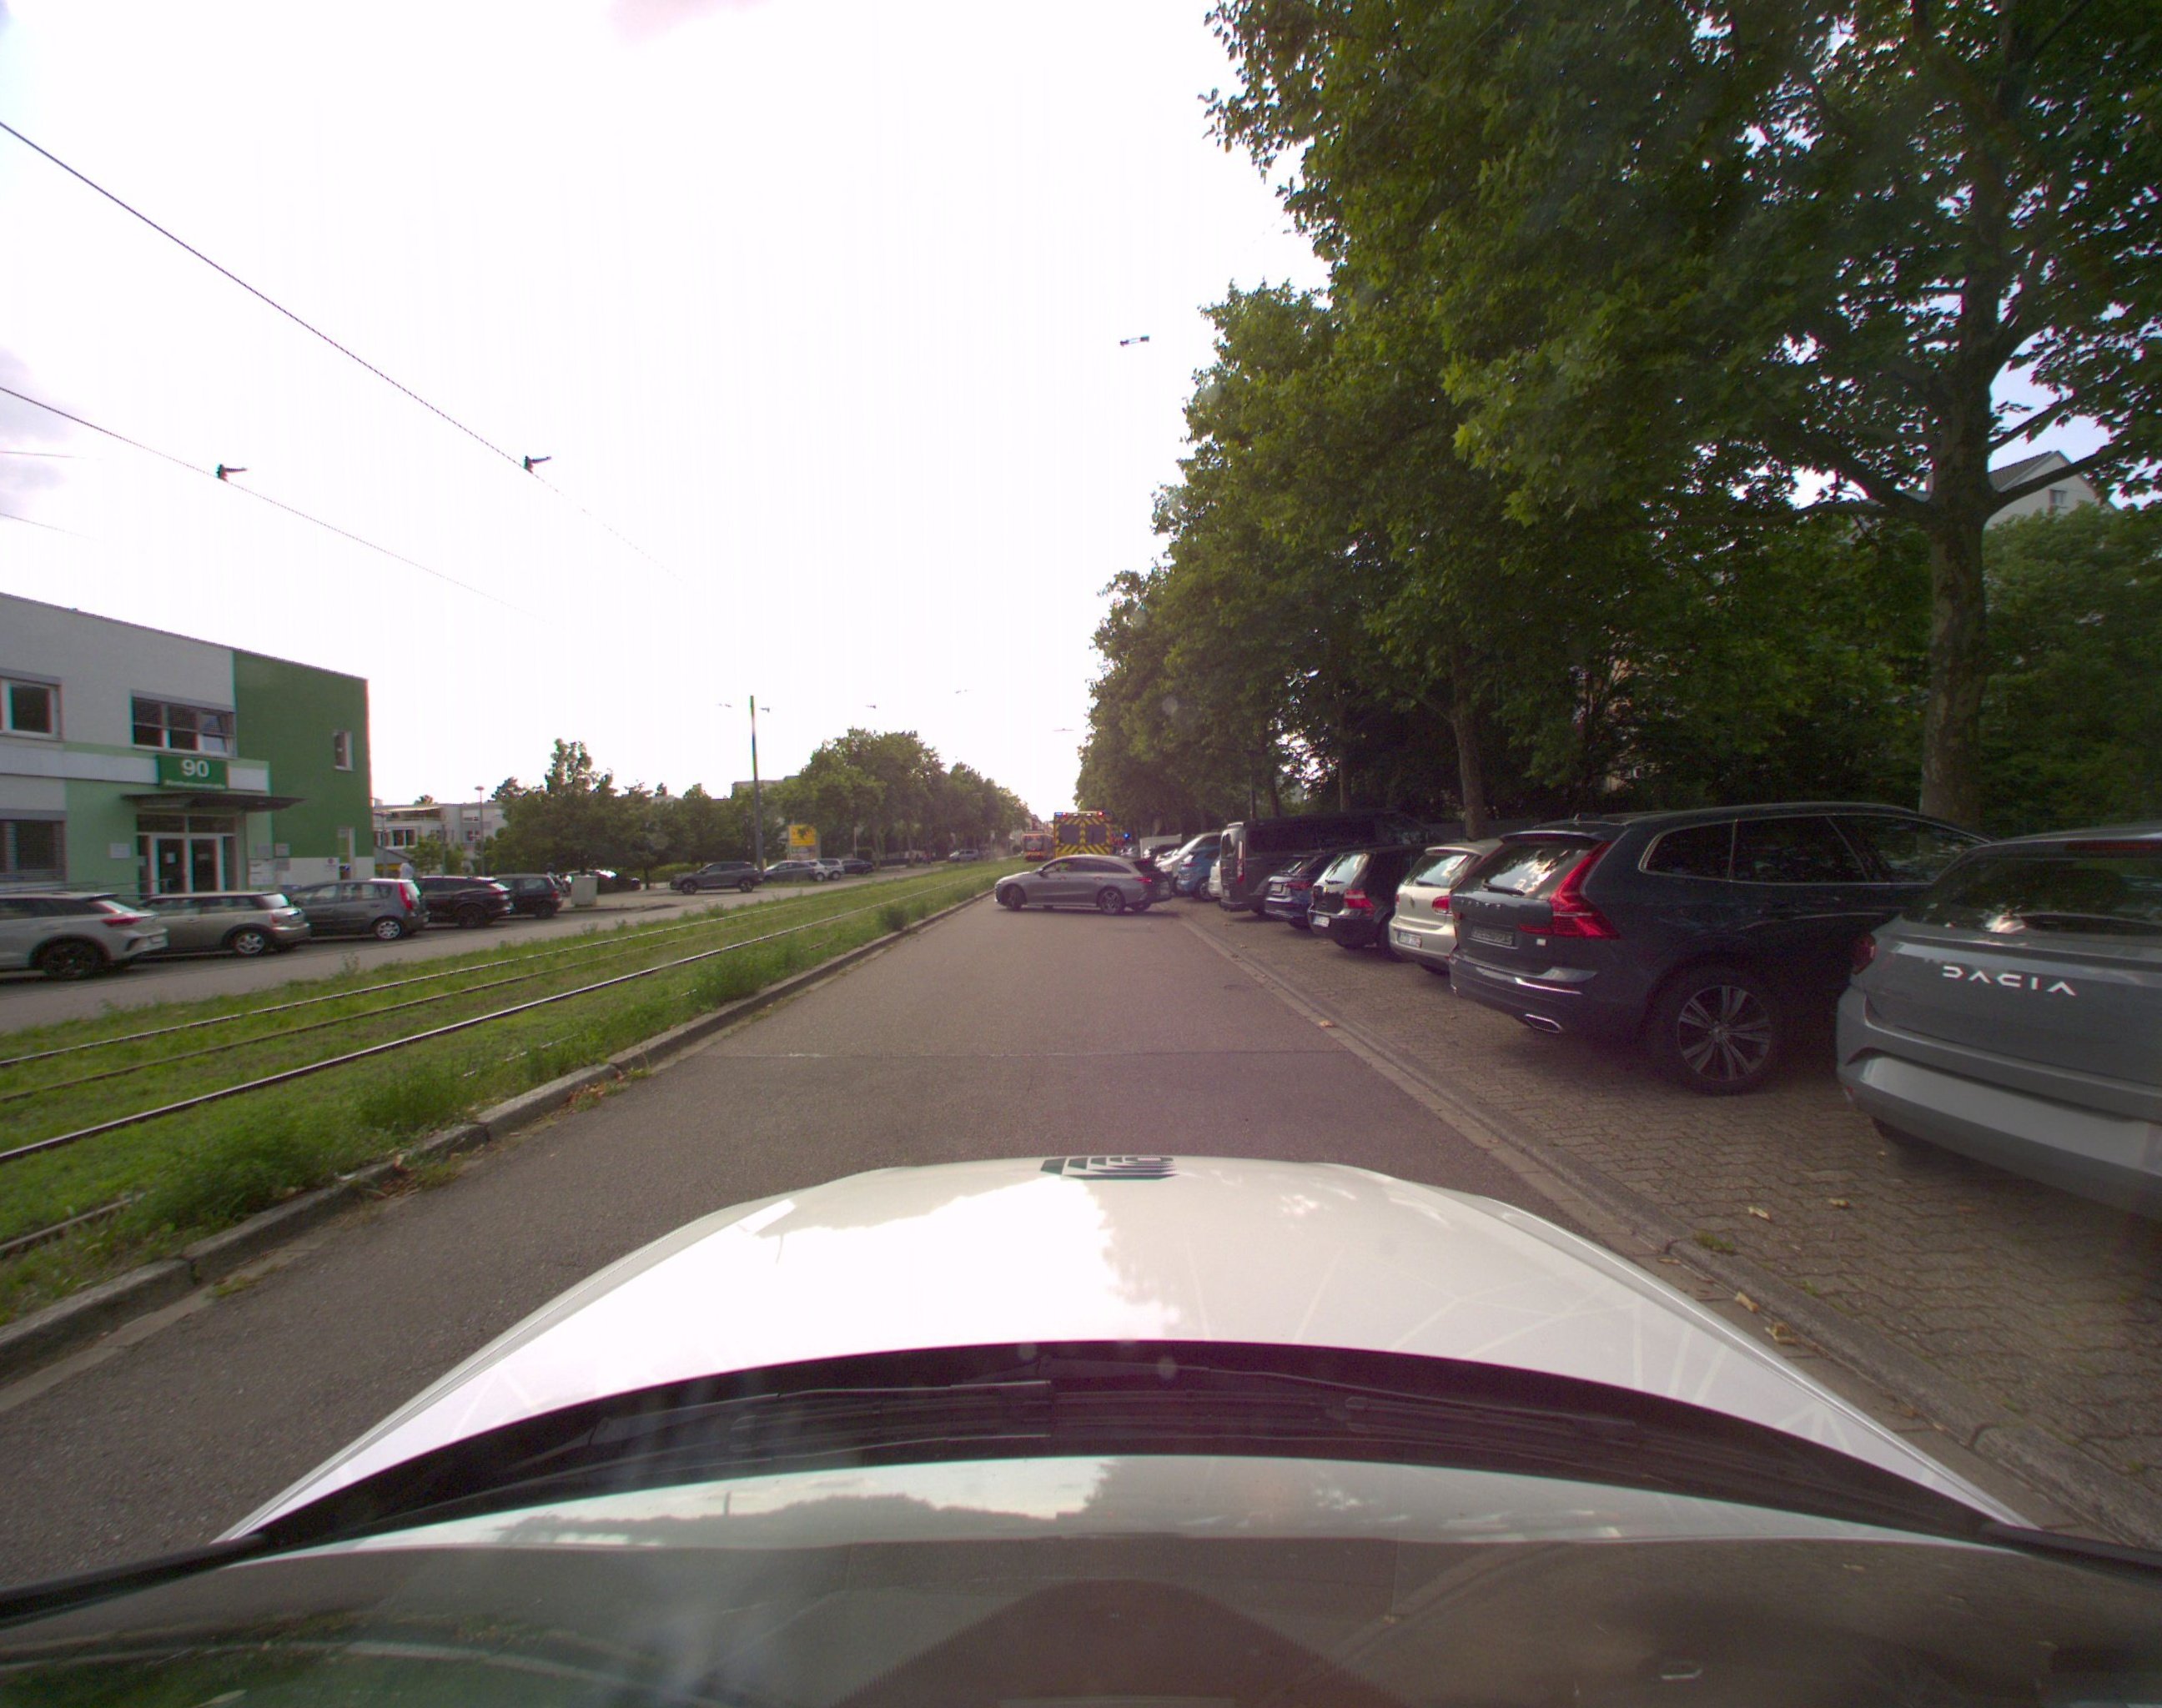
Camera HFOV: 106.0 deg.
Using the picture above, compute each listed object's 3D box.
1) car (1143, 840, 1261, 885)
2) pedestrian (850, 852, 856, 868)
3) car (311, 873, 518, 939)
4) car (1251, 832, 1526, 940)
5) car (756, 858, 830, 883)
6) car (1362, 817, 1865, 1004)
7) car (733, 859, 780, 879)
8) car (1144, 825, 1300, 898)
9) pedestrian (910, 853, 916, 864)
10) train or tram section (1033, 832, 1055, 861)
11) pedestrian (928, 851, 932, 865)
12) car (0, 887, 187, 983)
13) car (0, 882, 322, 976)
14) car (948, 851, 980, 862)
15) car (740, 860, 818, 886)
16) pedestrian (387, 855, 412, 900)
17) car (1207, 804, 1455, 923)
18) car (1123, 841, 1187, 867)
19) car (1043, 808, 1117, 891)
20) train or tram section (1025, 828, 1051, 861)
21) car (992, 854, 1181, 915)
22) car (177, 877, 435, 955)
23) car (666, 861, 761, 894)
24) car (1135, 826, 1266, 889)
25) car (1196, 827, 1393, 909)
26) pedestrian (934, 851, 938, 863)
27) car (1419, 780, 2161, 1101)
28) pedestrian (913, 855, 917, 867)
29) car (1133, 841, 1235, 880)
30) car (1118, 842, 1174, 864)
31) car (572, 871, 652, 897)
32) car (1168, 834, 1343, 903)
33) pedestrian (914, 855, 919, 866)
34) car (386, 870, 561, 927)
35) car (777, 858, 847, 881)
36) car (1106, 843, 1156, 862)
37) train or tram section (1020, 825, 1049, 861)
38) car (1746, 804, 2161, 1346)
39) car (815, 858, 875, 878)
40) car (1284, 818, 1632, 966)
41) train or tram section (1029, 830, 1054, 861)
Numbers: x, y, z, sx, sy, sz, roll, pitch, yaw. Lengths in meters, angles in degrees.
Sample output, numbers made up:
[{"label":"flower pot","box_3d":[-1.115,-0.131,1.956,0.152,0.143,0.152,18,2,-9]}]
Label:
[{"label":"car","box_3d":[5.016,0.334,34.052,4.537,1.608,1.853,-3,0,-4]},{"label":"pedestrian","box_3d":[-23.215,0.597,82.927,0.465,1.676,0.603,-2,0,-2]},{"label":"car","box_3d":[-18.872,1.416,23.334,4.247,1.482,1.866,-3,1,-29]},{"label":"car","box_3d":[5.072,0.511,13.797,3.953,1.494,1.755,-3,0,-1]},{"label":"car","box_3d":[-18.998,1.079,53.823,4.253,1.482,1.863,-1,0,-36]},{"label":"car","box_3d":[5.170,0.506,8.309,3.953,1.494,1.756,-3,0,-1]},{"label":"car","box_3d":[-29.642,1.339,74.413,3.949,1.750,2.013,0,0,31]},{"label":"car","box_3d":[4.438,0.215,25.984,4.537,2.000,1.853,-3,0,-4]},{"label":"pedestrian","box_3d":[-23.110,0.590,112.114,0.631,1.551,0.621,-2,0,-3]},{"label":"train or tram section","box_3d":[-4.972,-0.963,111.380,2.504,3.584,7.443,-3,0,0]},{"label":"pedestrian","box_3d":[-18.372,0.487,99.198,0.420,1.730,0.467,-2,0,-5]},{"label":"car","box_3d":[-19.113,1.474,14.266,4.252,1.482,1.863,-3,1,-34]},{"label":"car","box_3d":[-19.226,1.488,17.227,4.247,1.482,1.866,-3,1,-29]},{"label":"car","box_3d":[-18.572,0.361,129.619,4.651,1.633,1.861,-3,0,-39]},{"label":"car","box_3d":[-18.843,1.149,50.894,4.253,1.482,1.863,-1,0,-36]},{"label":"pedestrian","box_3d":[-28.241,0.970,33.744,0.544,1.828,0.508,-2,0,-2]},{"label":"car","box_3d":[5.075,0.179,16.975,4.532,2.123,1.855,-3,0,-1]},{"label":"car","box_3d":[5.495,-0.011,60.770,4.537,1.608,1.853,-3,0,-4]},{"label":"car","box_3d":[0.073,-0.159,32.591,2.631,2.966,6.302,1,0,2]},{"label":"train or tram section","box_3d":[-5.014,-1.073,96.493,2.504,3.584,7.443,-3,0,0]},{"label":"car","box_3d":[0.110,0.708,20.500,4.412,1.385,1.777,0,0,27]},{"label":"car","box_3d":[-18.968,1.459,20.249,4.247,1.482,1.866,-3,1,-29]},{"label":"car","box_3d":[-18.359,1.159,40.817,4.241,1.482,1.868,-1,0,-25]},{"label":"car","box_3d":[4.421,0.128,30.579,4.537,2.043,1.853,-3,0,-4]},{"label":"car","box_3d":[5.379,0.328,20.918,4.532,1.766,1.855,-3,0,-1]},{"label":"pedestrian","box_3d":[-21.721,0.454,121.745,0.465,1.828,0.422,-2,0,-2]},{"label":"car","box_3d":[4.838,0.465,5.467,4.364,1.639,1.757,-3,0,2]},{"label":"pedestrian","box_3d":[-21.101,0.873,103.349,0.420,1.473,0.467,-2,0,-5]},{"label":"car","box_3d":[4.904,0.285,39.209,4.537,1.608,1.853,-3,0,-4]},{"label":"car","box_3d":[5.627,-0.066,70.621,4.537,1.608,1.853,-3,0,-4]},{"label":"car","box_3d":[-29.413,1.892,51.106,3.970,1.565,1.779,0,-1,2]},{"label":"car","box_3d":[4.952,0.403,23.450,4.538,1.660,1.853,-3,0,-5]},{"label":"pedestrian","box_3d":[-21.278,0.861,105.185,0.417,1.414,0.470,-2,0,25]},{"label":"car","box_3d":[-19.415,1.382,26.301,4.247,1.482,1.866,-3,1,-29]},{"label":"car","box_3d":[-18.750,1.080,56.881,4.253,1.482,1.863,-1,0,-36]},{"label":"car","box_3d":[4.838,-0.132,78.853,4.537,1.608,1.853,-3,0,-4]},{"label":"train or tram section","box_3d":[-5.024,-1.128,89.062,2.504,3.584,7.443,-3,0,0]},{"label":"car","box_3d":[5.220,0.519,2.795,4.364,1.501,1.757,-3,1,2]},{"label":"car","box_3d":[-18.851,1.074,65.085,4.256,1.482,1.861,-1,0,-40]},{"label":"car","box_3d":[5.007,0.444,11.036,3.967,1.605,1.750,-3,0,-11]},{"label":"train or tram section","box_3d":[-4.997,-1.018,103.938,2.504,3.584,7.443,-3,0,0]}]
